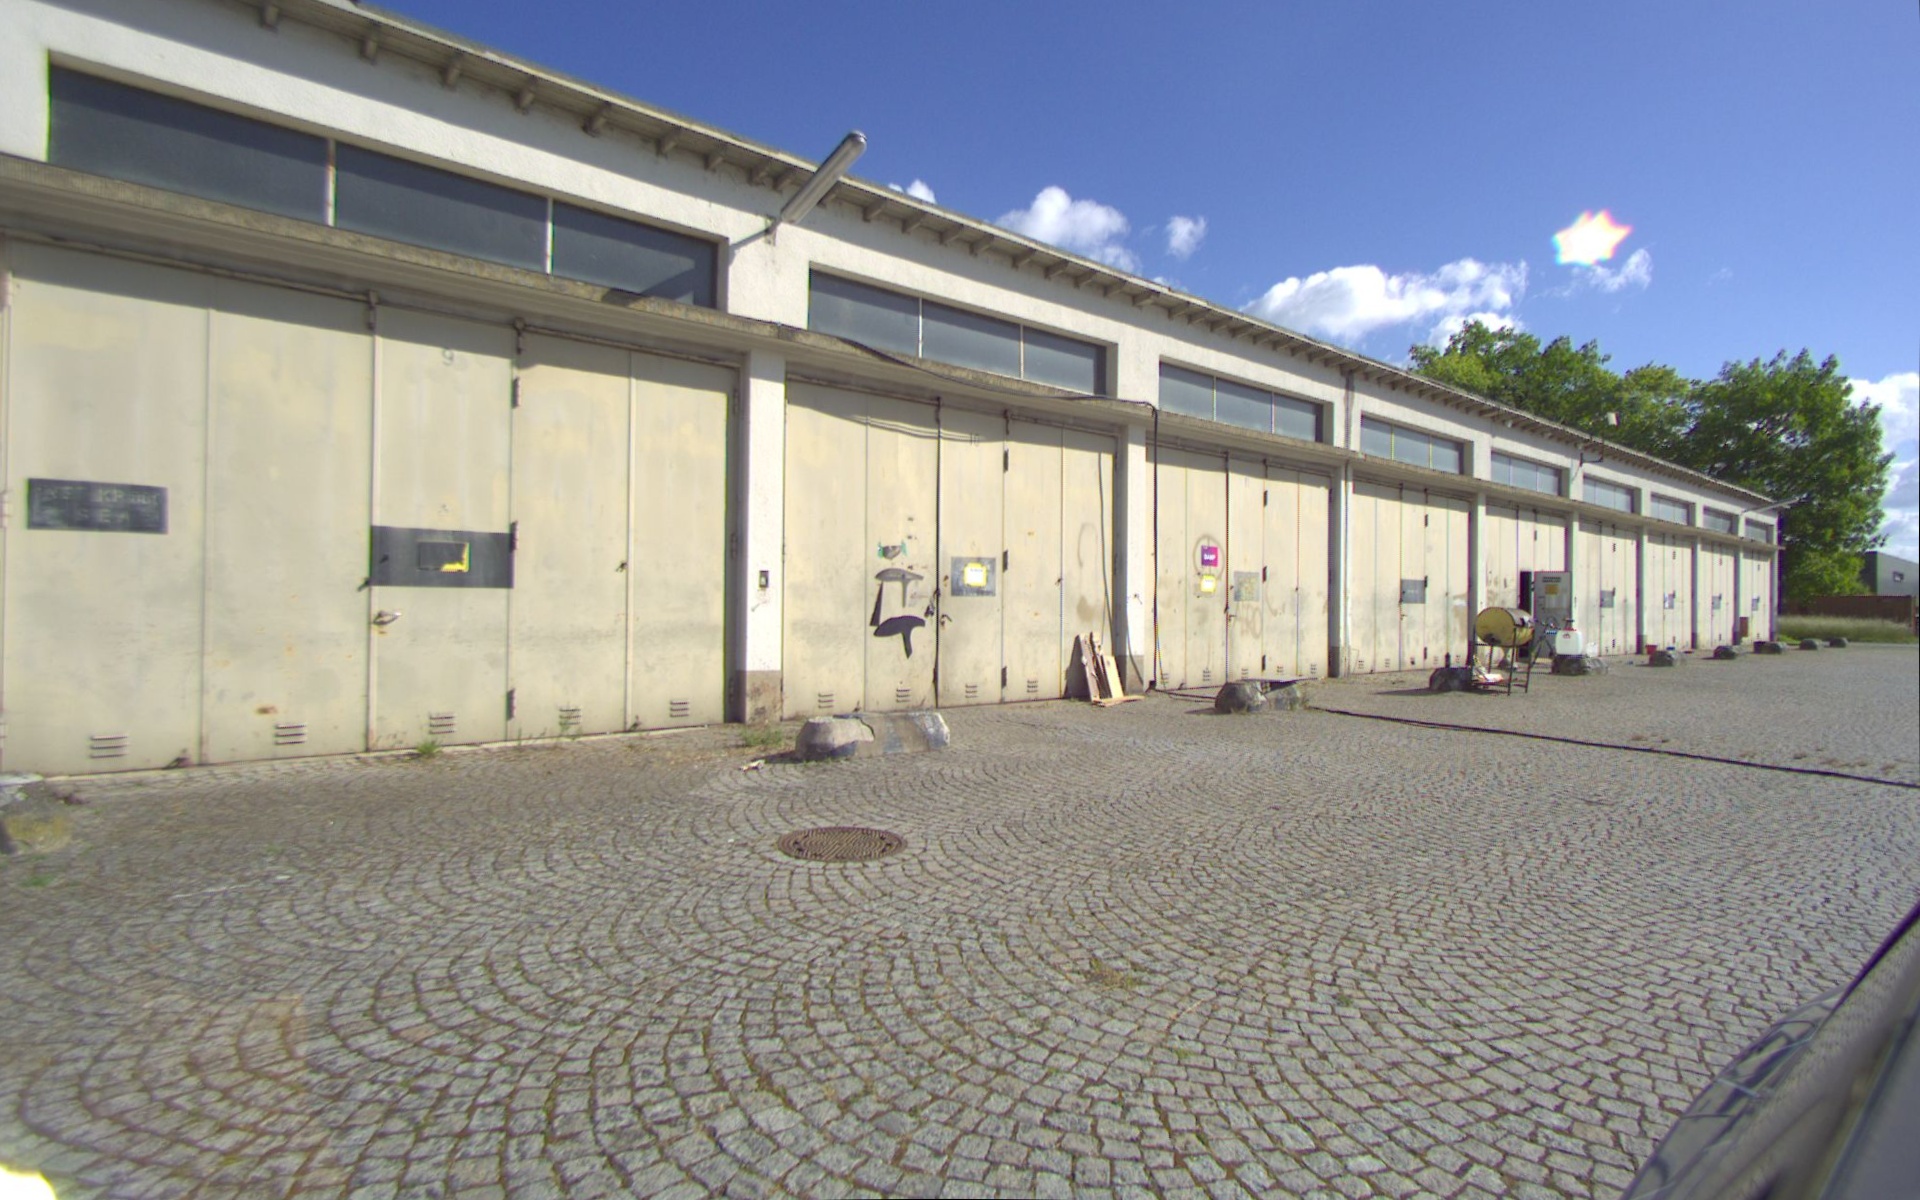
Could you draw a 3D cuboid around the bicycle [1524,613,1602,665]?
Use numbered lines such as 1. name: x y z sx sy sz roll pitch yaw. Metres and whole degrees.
1. bicycle: 13.433 0.853 22.544 1.787 1.082 0.667 0 -1 -29
